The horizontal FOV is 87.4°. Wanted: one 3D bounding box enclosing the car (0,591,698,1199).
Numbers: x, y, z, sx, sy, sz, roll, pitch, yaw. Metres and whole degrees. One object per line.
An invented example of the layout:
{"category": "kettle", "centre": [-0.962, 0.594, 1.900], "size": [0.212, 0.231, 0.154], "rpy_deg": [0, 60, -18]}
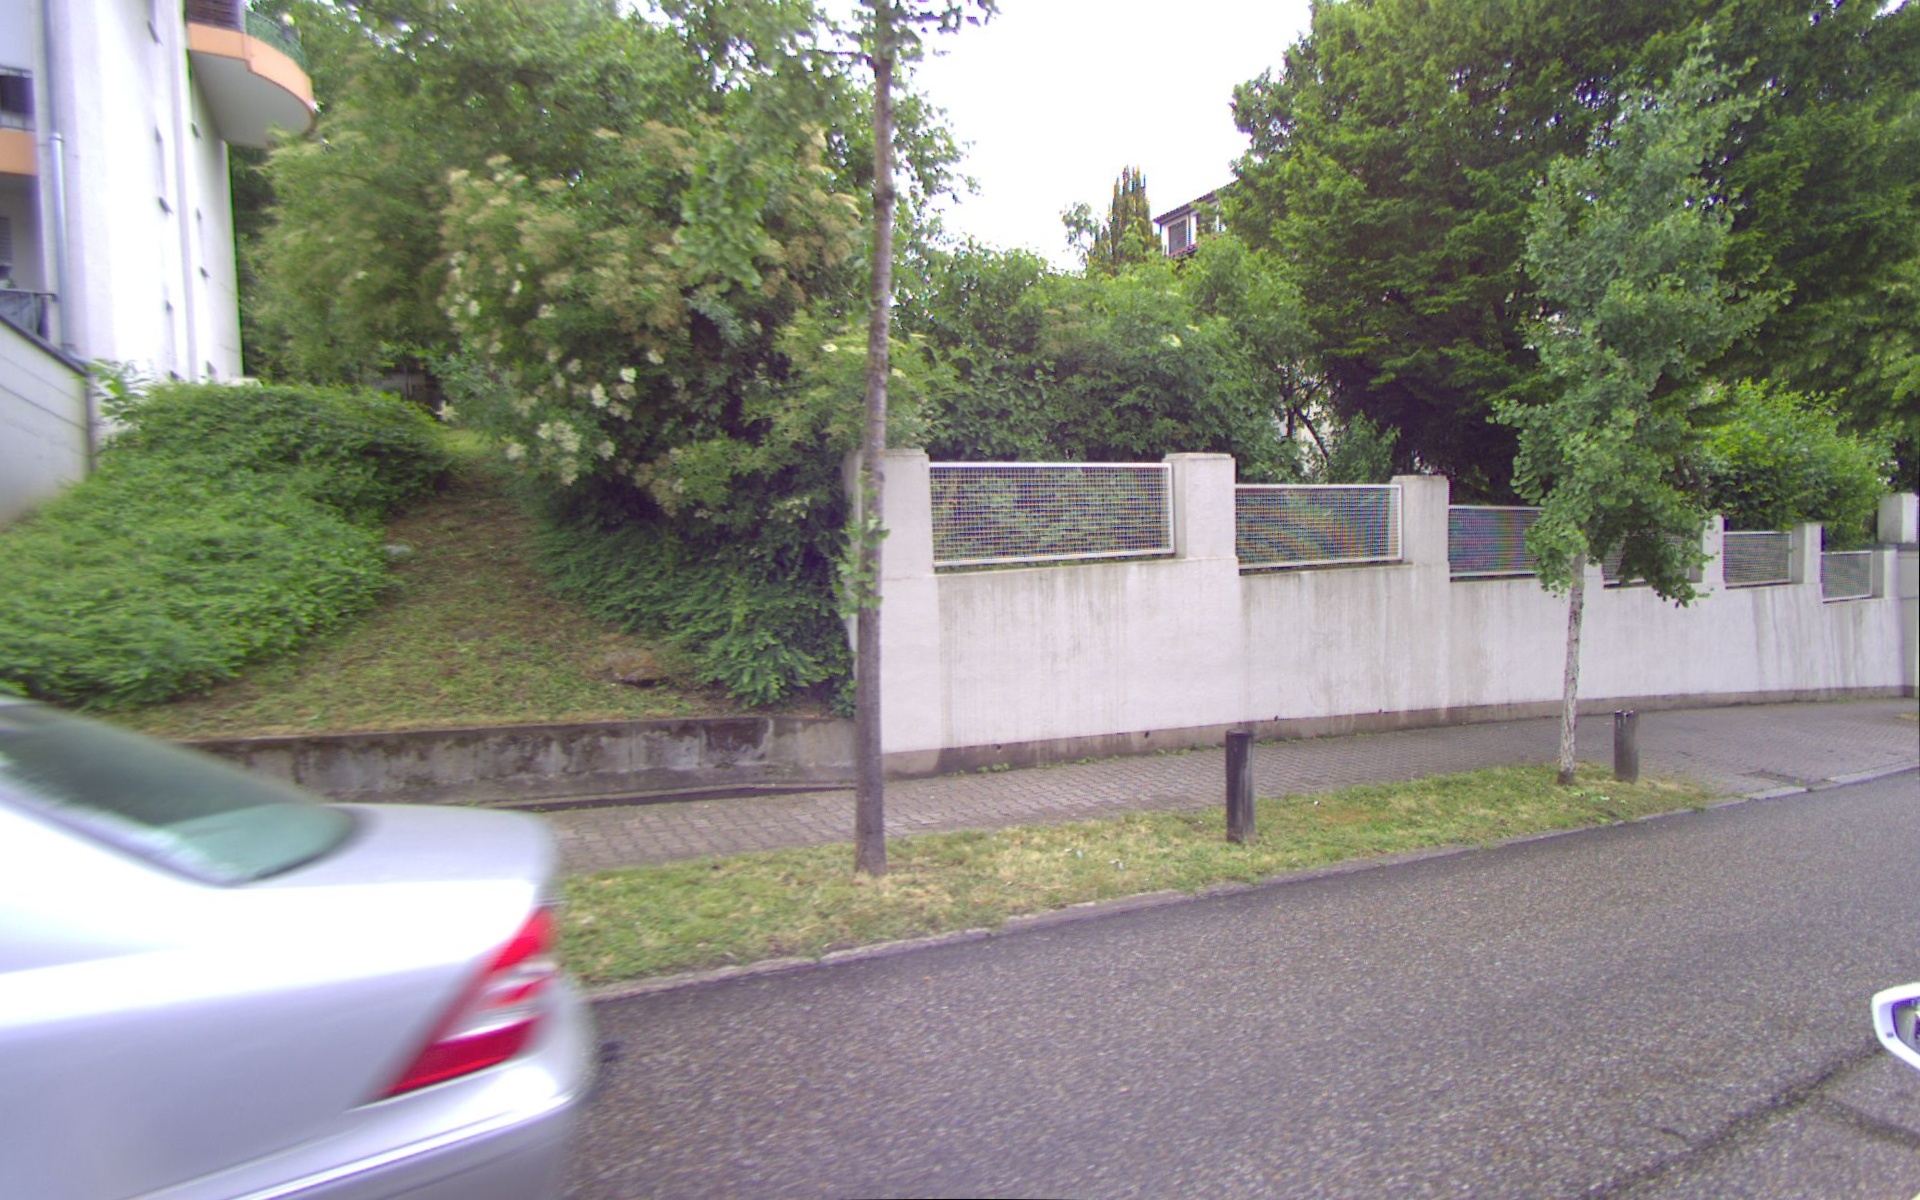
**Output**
{"category": "car", "centre": [-2.733, 0.713, 1.545], "size": [4.234, 1.402, 1.711], "rpy_deg": [1, -3, -30]}
